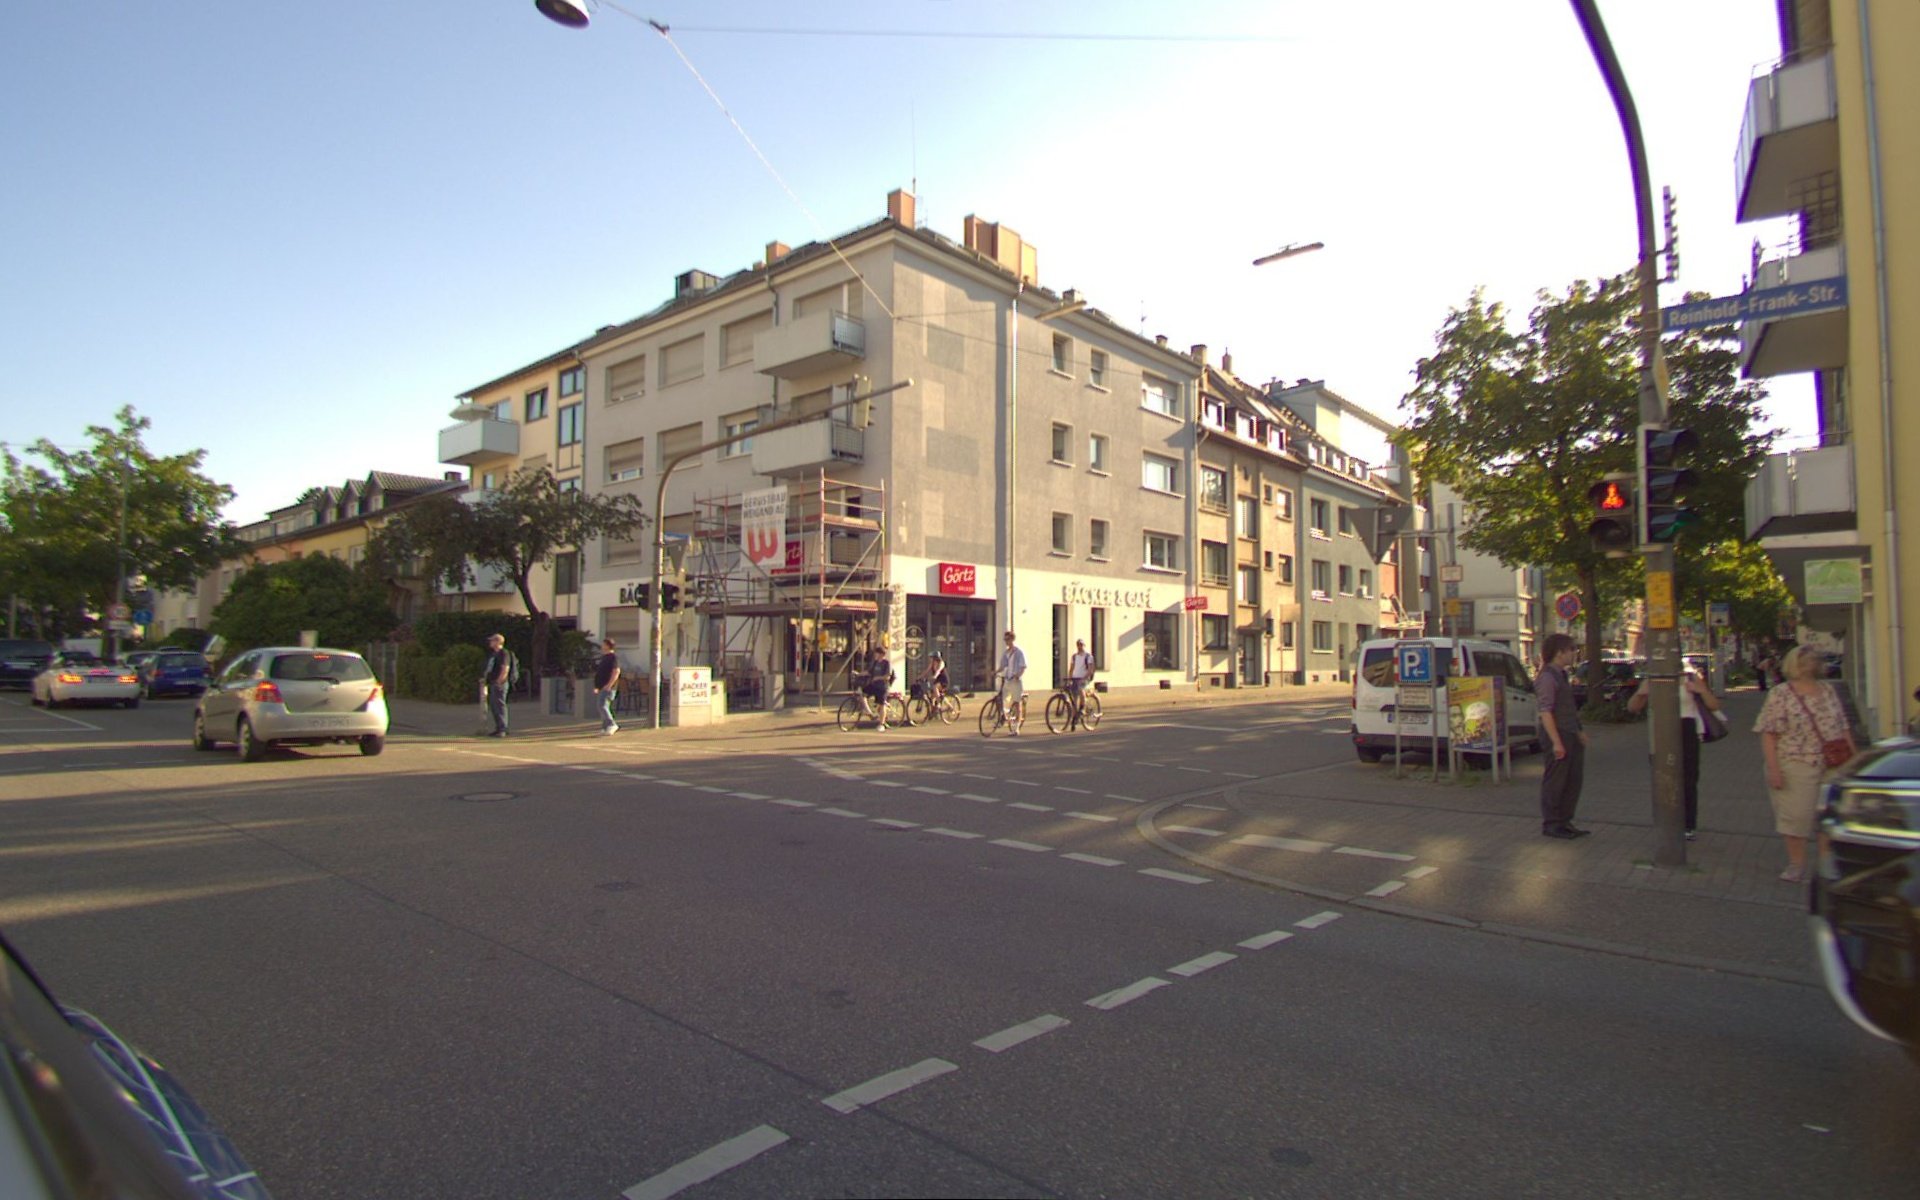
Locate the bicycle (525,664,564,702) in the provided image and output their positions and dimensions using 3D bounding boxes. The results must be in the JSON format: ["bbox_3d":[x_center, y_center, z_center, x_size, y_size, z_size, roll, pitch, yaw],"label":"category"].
[{"bbox_3d":[-11.581,2.306,28.215,1.477,1.022,0.433,-3,-4,44],"label":"bicycle"}]

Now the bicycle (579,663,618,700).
[{"bbox_3d":[-10.442,2.340,29.206,1.477,1.022,0.433,-3,-4,44],"label":"bicycle"}]

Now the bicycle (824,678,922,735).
[{"bbox_3d":[-1.790,2.187,21.007,1.967,1.098,0.729,3,-5,-39],"label":"bicycle"}]

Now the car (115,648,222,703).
[{"bbox_3d":[-25.015,2.348,31.960,3.947,1.626,1.788,-2,-4,39],"label":"car"}]

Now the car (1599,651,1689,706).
[{"bbox_3d":[22.090,2.482,32.620,1.842,1.626,4.349,-3,-4,41],"label":"car"}]

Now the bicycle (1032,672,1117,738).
[{"bbox_3d":[2.199,1.977,19.283,0.726,1.166,1.975,-4,-5,35],"label":"bicycle"}]

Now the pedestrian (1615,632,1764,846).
[{"bbox_3d":[6.024,1.103,8.387,0.598,1.642,0.752,-2,0,-12],"label":"pedestrian"}]

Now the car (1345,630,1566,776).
[{"bbox_3d":[7.600,1.445,15.296,1.907,1.862,4.425,-3,-4,41],"label":"car"}]

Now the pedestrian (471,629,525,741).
[{"bbox_3d":[-8.615,1.563,18.859,0.739,2.029,0.631,-3,-4,42],"label":"pedestrian"}]

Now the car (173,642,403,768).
[{"bbox_3d":[-9.817,1.429,14.681,3.999,1.569,1.785,-3,-5,42],"label":"car"}]

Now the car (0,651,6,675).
[{"bbox_3d":[-68.024,4.381,70.665,3.658,1.679,1.670,-3,-4,42],"label":"car"}]

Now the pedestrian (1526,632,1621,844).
[{"bbox_3d":[5.142,1.115,8.489,0.606,1.670,0.742,-2,-4,32],"label":"pedestrian"}]

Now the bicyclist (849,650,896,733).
[{"bbox_3d":[-1.815,1.886,21.006,0.662,1.666,0.751,3,-5,-39],"label":"bicyclist"}]

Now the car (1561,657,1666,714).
[{"bbox_3d":[18.499,2.361,28.584,1.863,1.475,3.944,-3,-4,42],"label":"car"}]

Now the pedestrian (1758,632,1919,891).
[{"bbox_3d":[5.863,1.021,6.797,0.749,1.606,0.601,-2,-2,39],"label":"pedestrian"}]

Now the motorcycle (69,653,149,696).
[{"bbox_3d":[-31.908,2.752,37.924,2.877,1.547,1.251,-2,-4,28],"label":"motorcycle"}]

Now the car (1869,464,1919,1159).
[{"bbox_3d":[4.891,0.561,1.451,5.224,1.844,1.842,-3,-6,41],"label":"car"}]

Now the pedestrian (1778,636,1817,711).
[{"bbox_3d":[19.620,1.707,23.708,0.647,1.733,0.570,-3,-4,41],"label":"pedestrian"}]

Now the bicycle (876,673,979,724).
[{"bbox_3d":[-0.721,2.253,23.155,2.233,1.097,0.730,4,-2,-30],"label":"bicycle"}]

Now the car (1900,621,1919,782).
[{"bbox_3d":[9.718,0.983,8.809,1.841,1.626,4.546,-3,-3,38],"label":"car"}]

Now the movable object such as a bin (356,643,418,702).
[{"bbox_3d":[-17.450,2.176,30.821,1.180,1.671,1.292,-2,0,41],"label":"movable object such as a bin"}]

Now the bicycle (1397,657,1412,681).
[{"bbox_3d":[23.541,3.651,53.621,0.596,1.309,0.425,-3,-4,39],"label":"bicycle"}]

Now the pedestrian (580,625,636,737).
[{"bbox_3d":[-6.575,1.495,18.902,0.814,2.029,0.637,-3,-4,42],"label":"pedestrian"}]

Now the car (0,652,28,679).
[{"bbox_3d":[-57.988,3.979,61.504,3.658,1.575,1.620,-3,-4,42],"label":"car"}]

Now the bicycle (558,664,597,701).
[{"bbox_3d":[-10.872,2.335,28.772,1.477,1.022,0.433,-3,-4,44],"label":"bicycle"}]

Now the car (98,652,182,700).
[{"bbox_3d":[-28.419,2.586,35.027,3.571,1.547,1.732,-3,-4,43],"label":"car"}]

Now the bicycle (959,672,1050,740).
[{"bbox_3d":[0.856,1.951,18.871,0.726,1.175,1.975,-4,-5,35],"label":"bicycle"}]

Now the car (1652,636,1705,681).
[{"bbox_3d":[39.410,3.214,55.475,1.863,2.377,3.944,-3,-4,42],"label":"car"}]

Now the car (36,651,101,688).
[{"bbox_3d":[-40.850,3.154,46.348,4.196,1.626,1.711,-3,-4,42],"label":"car"}]

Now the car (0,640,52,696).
[{"bbox_3d":[-33.985,2.409,36.074,4.406,1.891,1.818,-3,-4,41],"label":"car"}]

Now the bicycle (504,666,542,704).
[{"bbox_3d":[-12.007,2.319,27.790,1.477,1.022,0.433,-3,-4,44],"label":"bicycle"}]

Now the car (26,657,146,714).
[{"bbox_3d":[-22.803,2.174,26.345,4.441,1.330,1.821,-3,-5,43],"label":"car"}]

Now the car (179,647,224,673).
[{"bbox_3d":[-49.416,3.913,65.885,1.815,1.626,4.413,3,-4,-43],"label":"car"}]

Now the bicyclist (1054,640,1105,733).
[{"bbox_3d":[2.290,1.653,19.440,0.748,1.735,0.601,-4,-5,36],"label":"bicyclist"}]

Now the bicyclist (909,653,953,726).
[{"bbox_3d":[-0.671,2.047,23.186,0.677,1.606,0.752,3,-2,-29],"label":"bicyclist"}]

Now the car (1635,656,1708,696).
[{"bbox_3d":[27.831,2.914,39.555,1.863,1.475,3.944,-3,-4,42],"label":"car"}]
